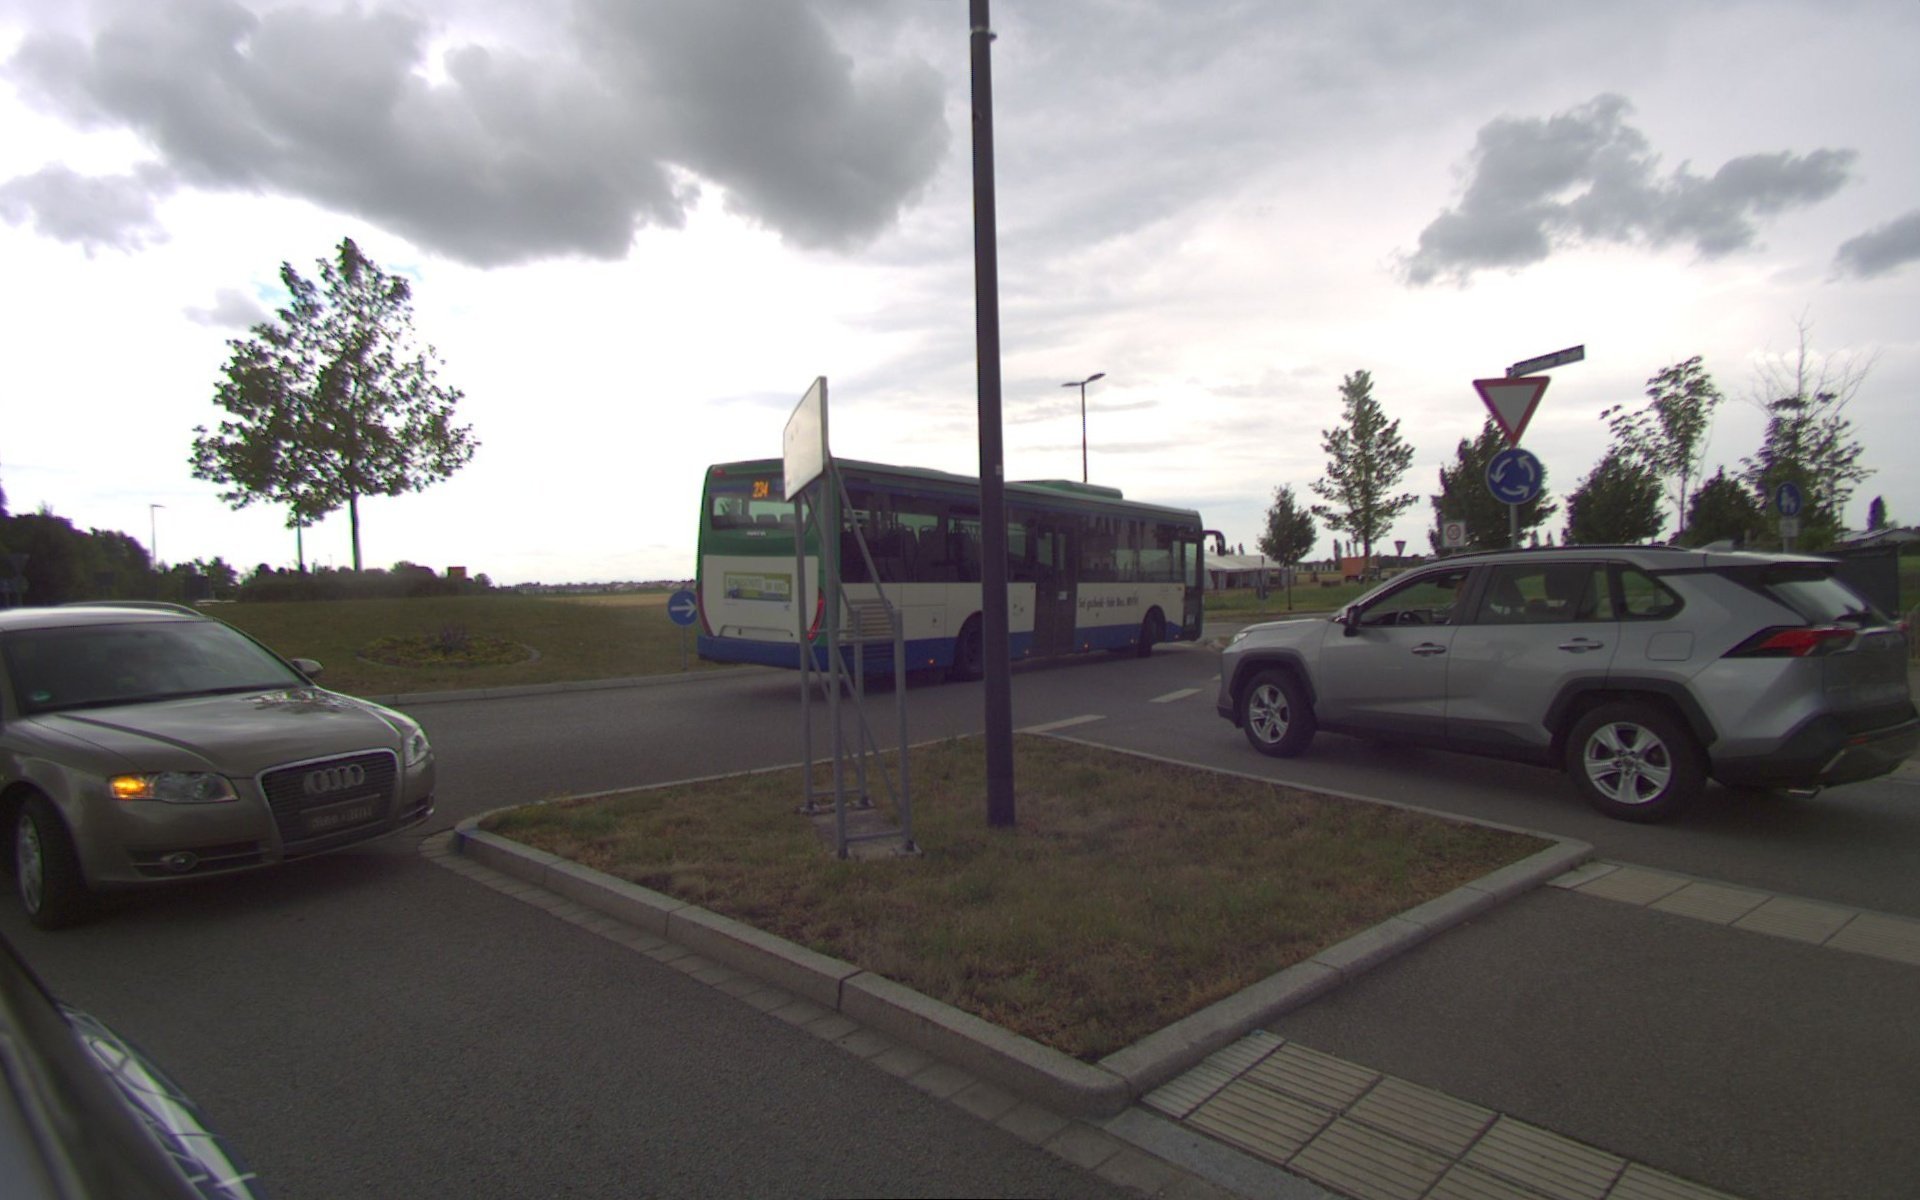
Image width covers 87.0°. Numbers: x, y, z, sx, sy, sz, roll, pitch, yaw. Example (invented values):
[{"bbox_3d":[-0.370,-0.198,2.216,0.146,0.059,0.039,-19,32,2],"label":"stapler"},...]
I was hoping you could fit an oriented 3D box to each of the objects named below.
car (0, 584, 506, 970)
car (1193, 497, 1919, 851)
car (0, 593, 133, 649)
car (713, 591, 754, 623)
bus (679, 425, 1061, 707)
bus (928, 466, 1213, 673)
[{"bbox_3d":[-4.923,0.728,5.730,4.515,1.476,1.768,-1,1,26],"label":"car"},{"bbox_3d":[4.098,0.358,7.410,1.966,1.716,4.648,0,0,-32],"label":"car"},{"bbox_3d":[-28.604,0.609,32.300,1.752,1.552,4.011,-2,2,-13],"label":"car"},{"bbox_3d":[-13.200,0.356,59.196,1.690,1.564,4.005,-4,3,-4],"label":"car"},{"bbox_3d":[-1.057,-0.417,14.684,2.522,3.282,5.391,0,0,38],"label":"bus"},{"bbox_3d":[2.383,-0.512,19.461,2.521,3.282,6.467,0,0,37],"label":"bus"}]
